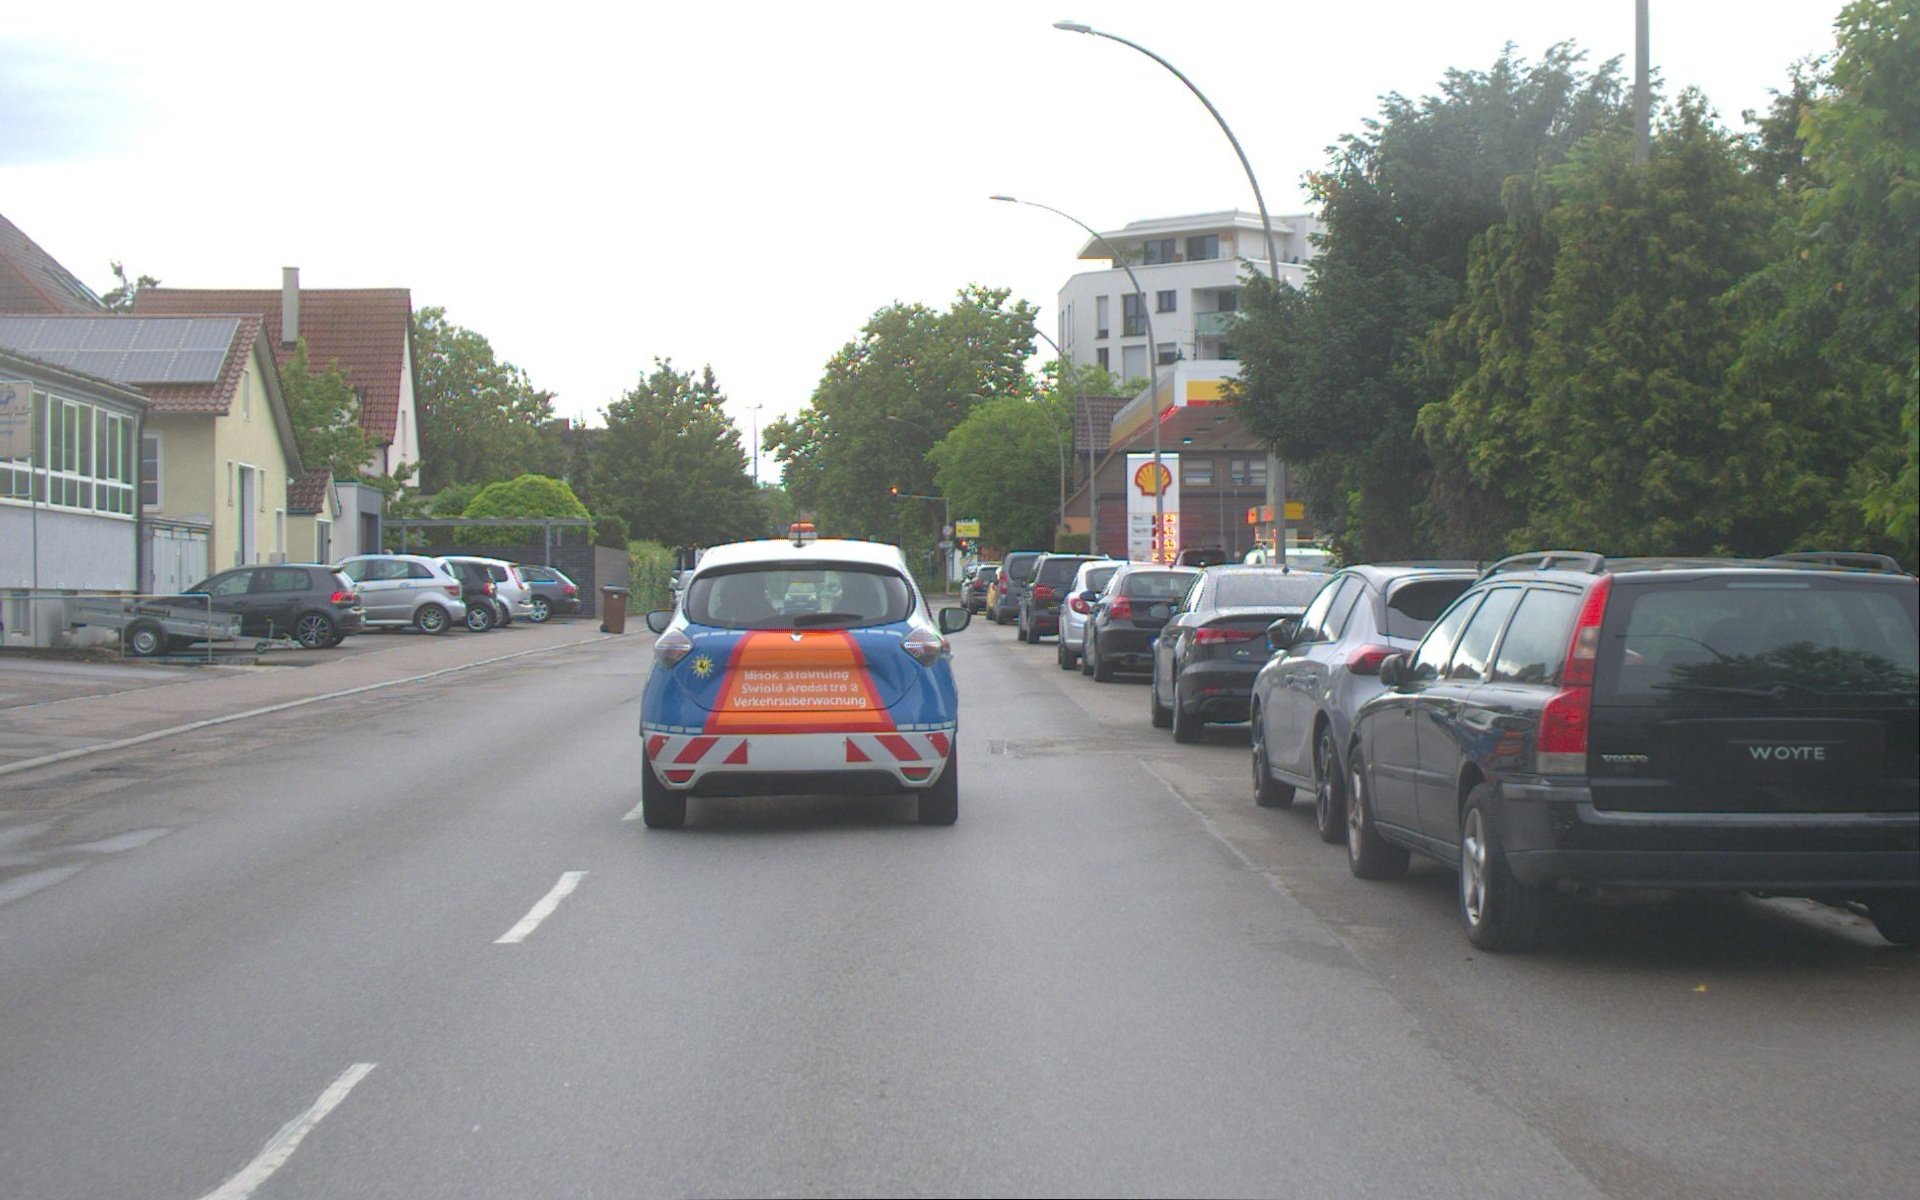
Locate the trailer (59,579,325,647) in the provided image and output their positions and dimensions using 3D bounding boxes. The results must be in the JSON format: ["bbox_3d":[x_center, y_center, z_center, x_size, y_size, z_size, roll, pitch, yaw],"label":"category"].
[{"bbox_3d":[-12.629,0.207,56.671,4.022,0.991,1.655,2,0,-2],"label":"trailer"}]

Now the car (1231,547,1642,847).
[{"bbox_3d":[2.499,0.451,18.824,1.539,1.424,3.751,2,1,-2],"label":"car"}]

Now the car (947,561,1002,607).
[{"bbox_3d":[0.481,-0.546,116.290,1.650,1.478,4.000,2,0,-2],"label":"car"}]

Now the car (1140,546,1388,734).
[{"bbox_3d":[2.383,0.286,27.793,1.605,1.369,4.087,2,0,0],"label":"car"}]

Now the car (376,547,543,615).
[{"bbox_3d":[-11.319,-0.444,77.893,3.653,1.478,1.480,-1,1,-5],"label":"car"}]

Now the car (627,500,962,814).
[{"bbox_3d":[-0.908,0.287,19.658,1.731,1.625,3.495,0,0,-1],"label":"car"}]

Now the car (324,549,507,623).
[{"bbox_3d":[-11.710,-0.306,74.089,3.759,1.478,1.655,2,0,-5],"label":"car"}]

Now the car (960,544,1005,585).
[{"bbox_3d":[0.925,-1.488,143.643,1.650,1.647,4.000,2,0,-2],"label":"car"}]

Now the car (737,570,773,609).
[{"bbox_3d":[-6.750,-0.371,113.371,1.151,1.228,3.373,0,1,-2],"label":"car"}]

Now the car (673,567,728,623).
[{"bbox_3d":[-7.169,-0.152,95.120,1.386,1.478,3.784,0,1,-2],"label":"car"}]

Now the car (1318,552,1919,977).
[{"bbox_3d":[2.696,0.556,14.122,1.711,1.433,4.527,2,0,-3],"label":"car"}]

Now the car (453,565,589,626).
[{"bbox_3d":[-10.964,-0.119,86.007,3.281,1.443,1.480,-1,1,-5],"label":"car"}]

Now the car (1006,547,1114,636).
[{"bbox_3d":[1.795,-0.163,62.587,1.650,1.516,4.000,2,0,-2],"label":"car"}]

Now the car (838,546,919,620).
[{"bbox_3d":[-1.792,-0.370,74.630,1.650,1.516,4.000,2,0,-2],"label":"car"}]

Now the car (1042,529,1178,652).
[{"bbox_3d":[2.006,-0.113,46.704,1.481,1.550,3.861,2,0,-2],"label":"car"}]

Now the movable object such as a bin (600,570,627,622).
[{"bbox_3d":[-8.055,-0.096,79.986,0.579,1.200,0.318,1,0,-1],"label":"movable object such as a bin"}]

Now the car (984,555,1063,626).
[{"bbox_3d":[1.529,-0.236,84.360,1.650,1.666,4.000,2,0,-2],"label":"car"}]

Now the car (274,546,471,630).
[{"bbox_3d":[-11.884,-0.249,69.725,3.759,1.571,1.655,2,0,-5],"label":"car"}]

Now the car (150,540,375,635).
[{"bbox_3d":[-11.970,-0.221,59.140,3.579,1.521,1.655,2,0,-5],"label":"car"}]

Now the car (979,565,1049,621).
[{"bbox_3d":[1.474,-0.195,95.183,1.650,1.478,4.000,2,0,-2],"label":"car"}]

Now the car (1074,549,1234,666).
[{"bbox_3d":[2.296,0.052,41.597,1.650,1.331,4.000,0,1,-1],"label":"car"}]
